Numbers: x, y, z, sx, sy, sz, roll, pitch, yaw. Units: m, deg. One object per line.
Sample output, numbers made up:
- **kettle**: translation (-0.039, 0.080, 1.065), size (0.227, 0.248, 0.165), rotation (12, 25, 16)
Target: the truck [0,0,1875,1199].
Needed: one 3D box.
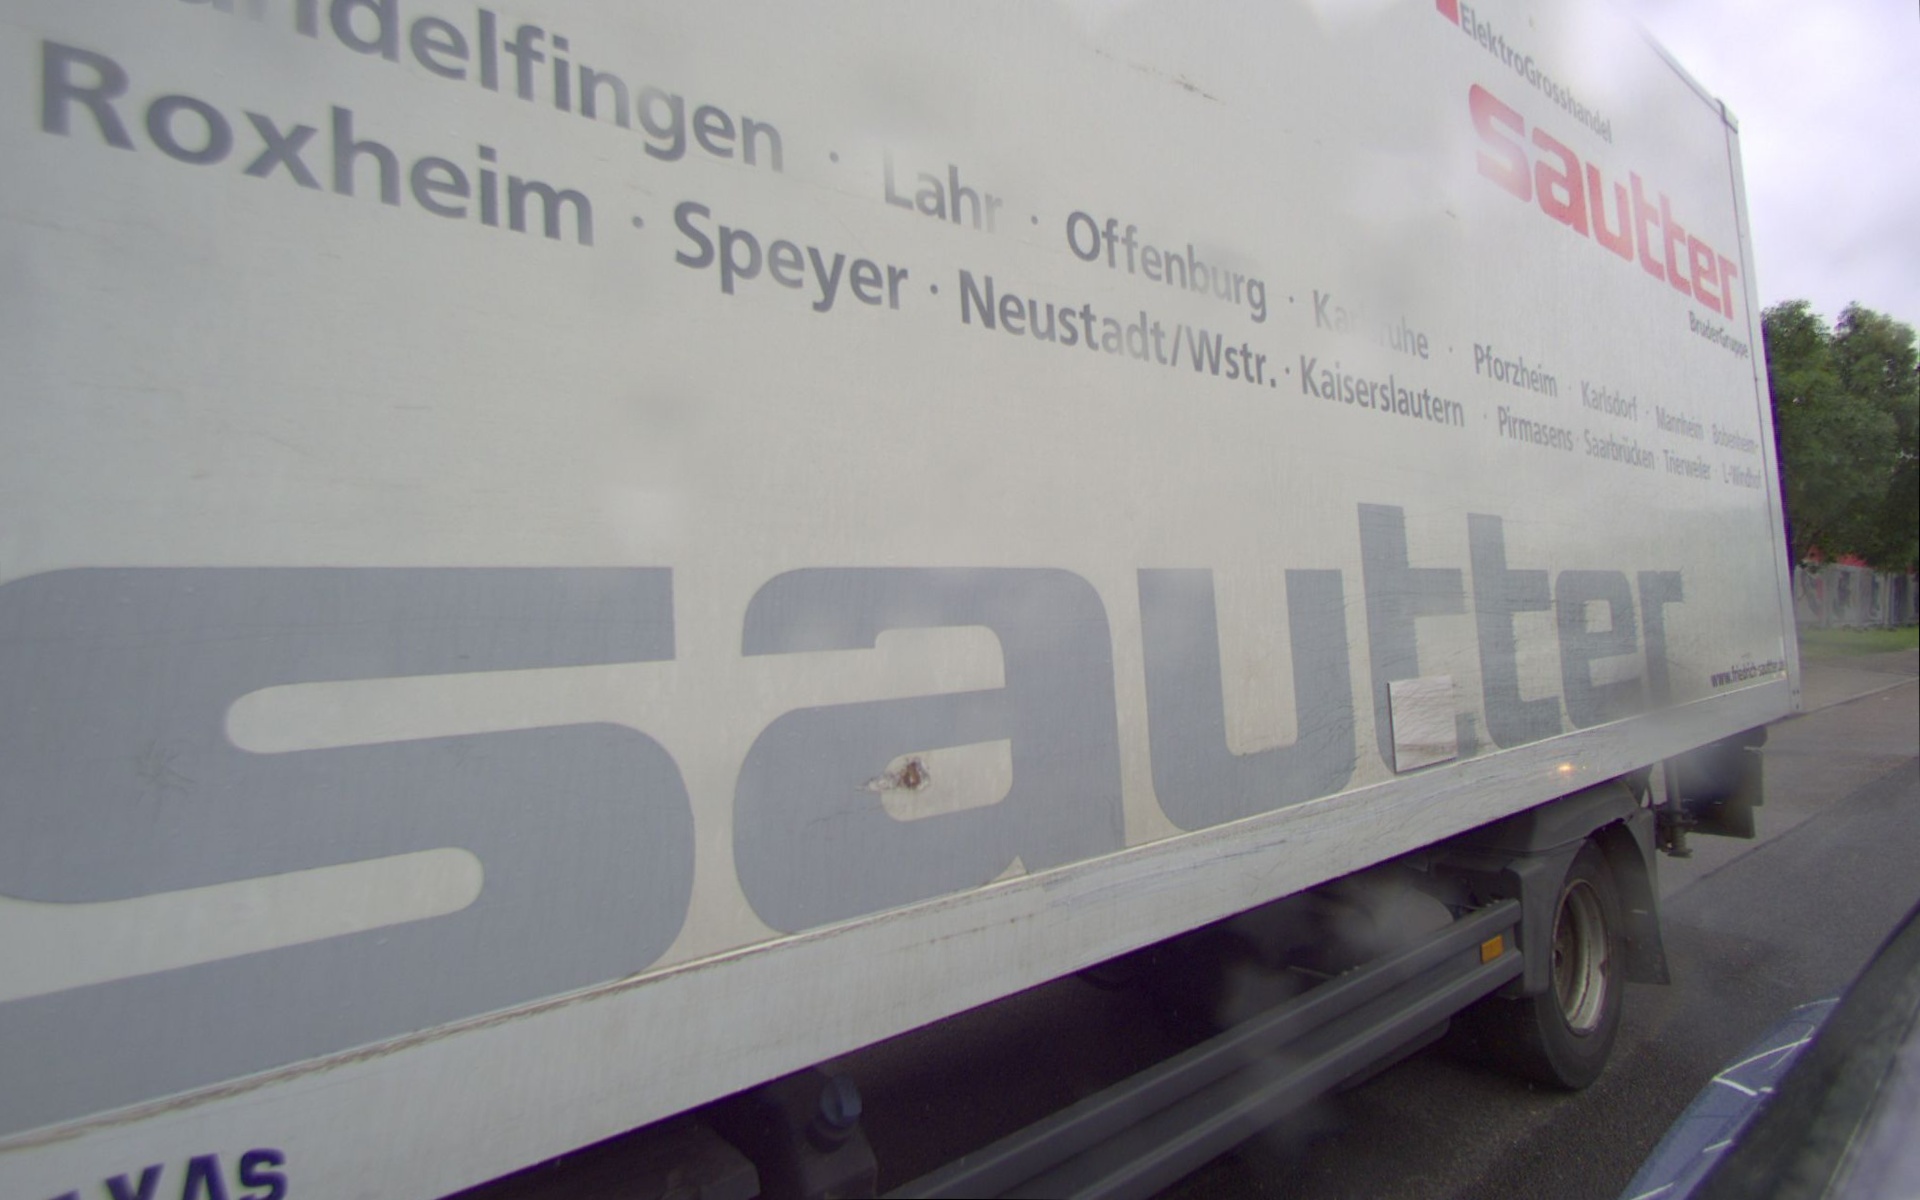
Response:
- **truck**: translation (0.085, -0.374, 3.035), size (7.865, 3.740, 2.677), rotation (0, -2, -39)
